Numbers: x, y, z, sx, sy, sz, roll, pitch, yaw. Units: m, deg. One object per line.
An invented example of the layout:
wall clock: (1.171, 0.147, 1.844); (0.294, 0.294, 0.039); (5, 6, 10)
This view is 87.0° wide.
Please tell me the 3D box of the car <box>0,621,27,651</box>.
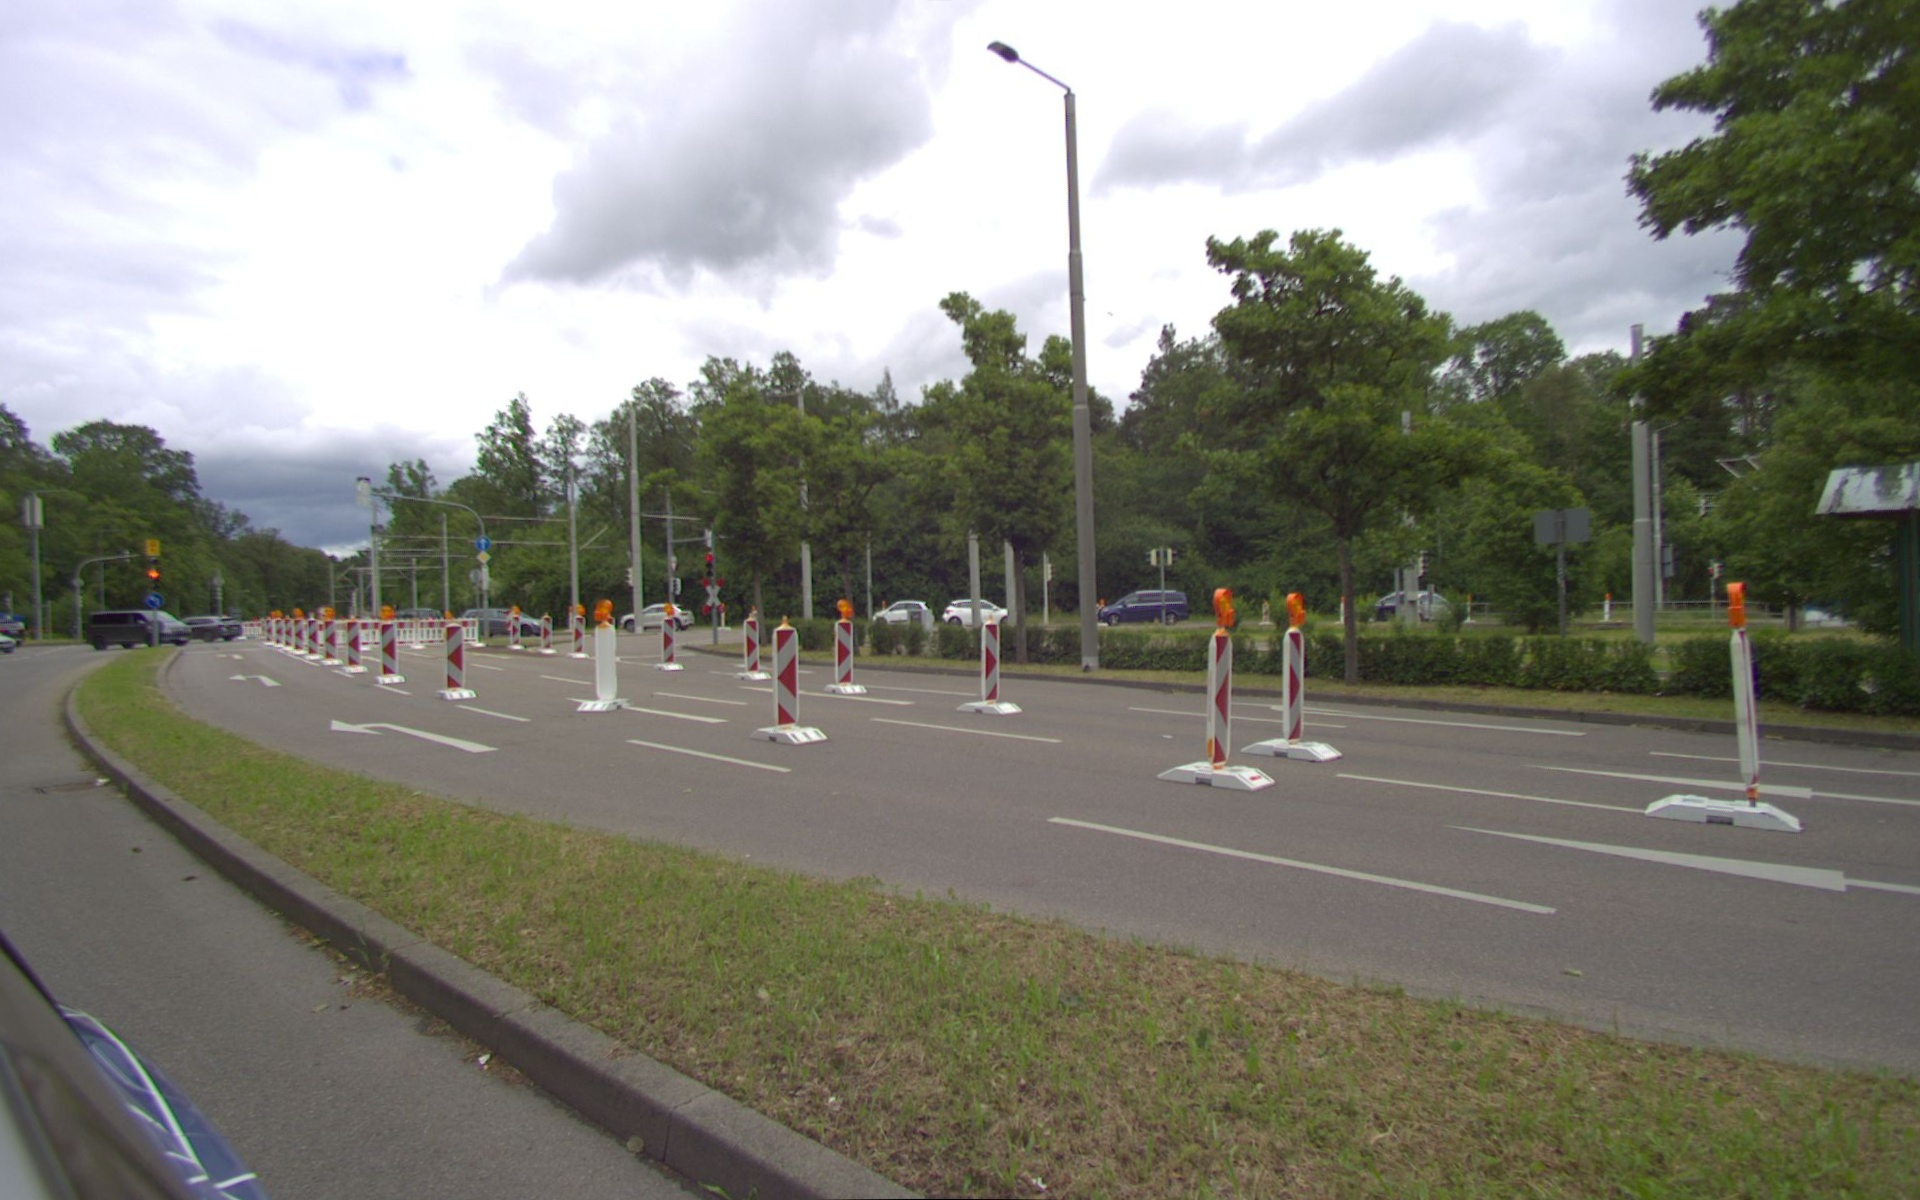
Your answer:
car: (-59.463, 2.227, 61.231); (4.417, 1.741, 1.997); (-2, 1, 6)

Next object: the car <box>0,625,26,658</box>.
car: (-52.012, 2.243, 53.214); (3.925, 1.652, 1.899); (-2, 1, -2)

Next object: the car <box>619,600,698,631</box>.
car: (-17.555, 0.886, 59.001); (3.992, 1.664, 1.858); (-2, 1, 1)

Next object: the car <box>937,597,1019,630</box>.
car: (0.933, 0.649, 50.070); (3.948, 1.499, 1.768); (-2, 1, 4)

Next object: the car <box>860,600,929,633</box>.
car: (-3.715, 0.935, 58.148); (3.742, 1.735, 1.857); (-2, 1, 3)

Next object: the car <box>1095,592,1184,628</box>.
car: (10.069, 0.553, 57.070); (4.777, 1.829, 1.996); (-2, 1, 8)

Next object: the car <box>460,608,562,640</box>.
car: (-22.586, 1.207, 51.035); (4.332, 1.447, 1.795); (-2, 1, 2)

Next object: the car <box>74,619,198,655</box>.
car: (-42.768, 1.897, 52.611); (4.842, 1.599, 1.957); (-2, 1, 1)

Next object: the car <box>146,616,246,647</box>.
car: (-45.233, 1.828, 59.982); (4.385, 1.607, 1.882); (-2, 1, -3)

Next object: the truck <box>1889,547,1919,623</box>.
truck: (53.498, -0.913, 51.384); (8.661, 3.910, 3.783); (-2, 1, 5)

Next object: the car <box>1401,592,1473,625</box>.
car: (22.953, 0.410, 48.742); (2.708, 1.486, 1.498); (-2, 1, 3)

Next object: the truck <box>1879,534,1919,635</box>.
truck: (23.840, -0.422, 21.213); (6.235, 2.186, 2.599); (-2, 1, 11)
